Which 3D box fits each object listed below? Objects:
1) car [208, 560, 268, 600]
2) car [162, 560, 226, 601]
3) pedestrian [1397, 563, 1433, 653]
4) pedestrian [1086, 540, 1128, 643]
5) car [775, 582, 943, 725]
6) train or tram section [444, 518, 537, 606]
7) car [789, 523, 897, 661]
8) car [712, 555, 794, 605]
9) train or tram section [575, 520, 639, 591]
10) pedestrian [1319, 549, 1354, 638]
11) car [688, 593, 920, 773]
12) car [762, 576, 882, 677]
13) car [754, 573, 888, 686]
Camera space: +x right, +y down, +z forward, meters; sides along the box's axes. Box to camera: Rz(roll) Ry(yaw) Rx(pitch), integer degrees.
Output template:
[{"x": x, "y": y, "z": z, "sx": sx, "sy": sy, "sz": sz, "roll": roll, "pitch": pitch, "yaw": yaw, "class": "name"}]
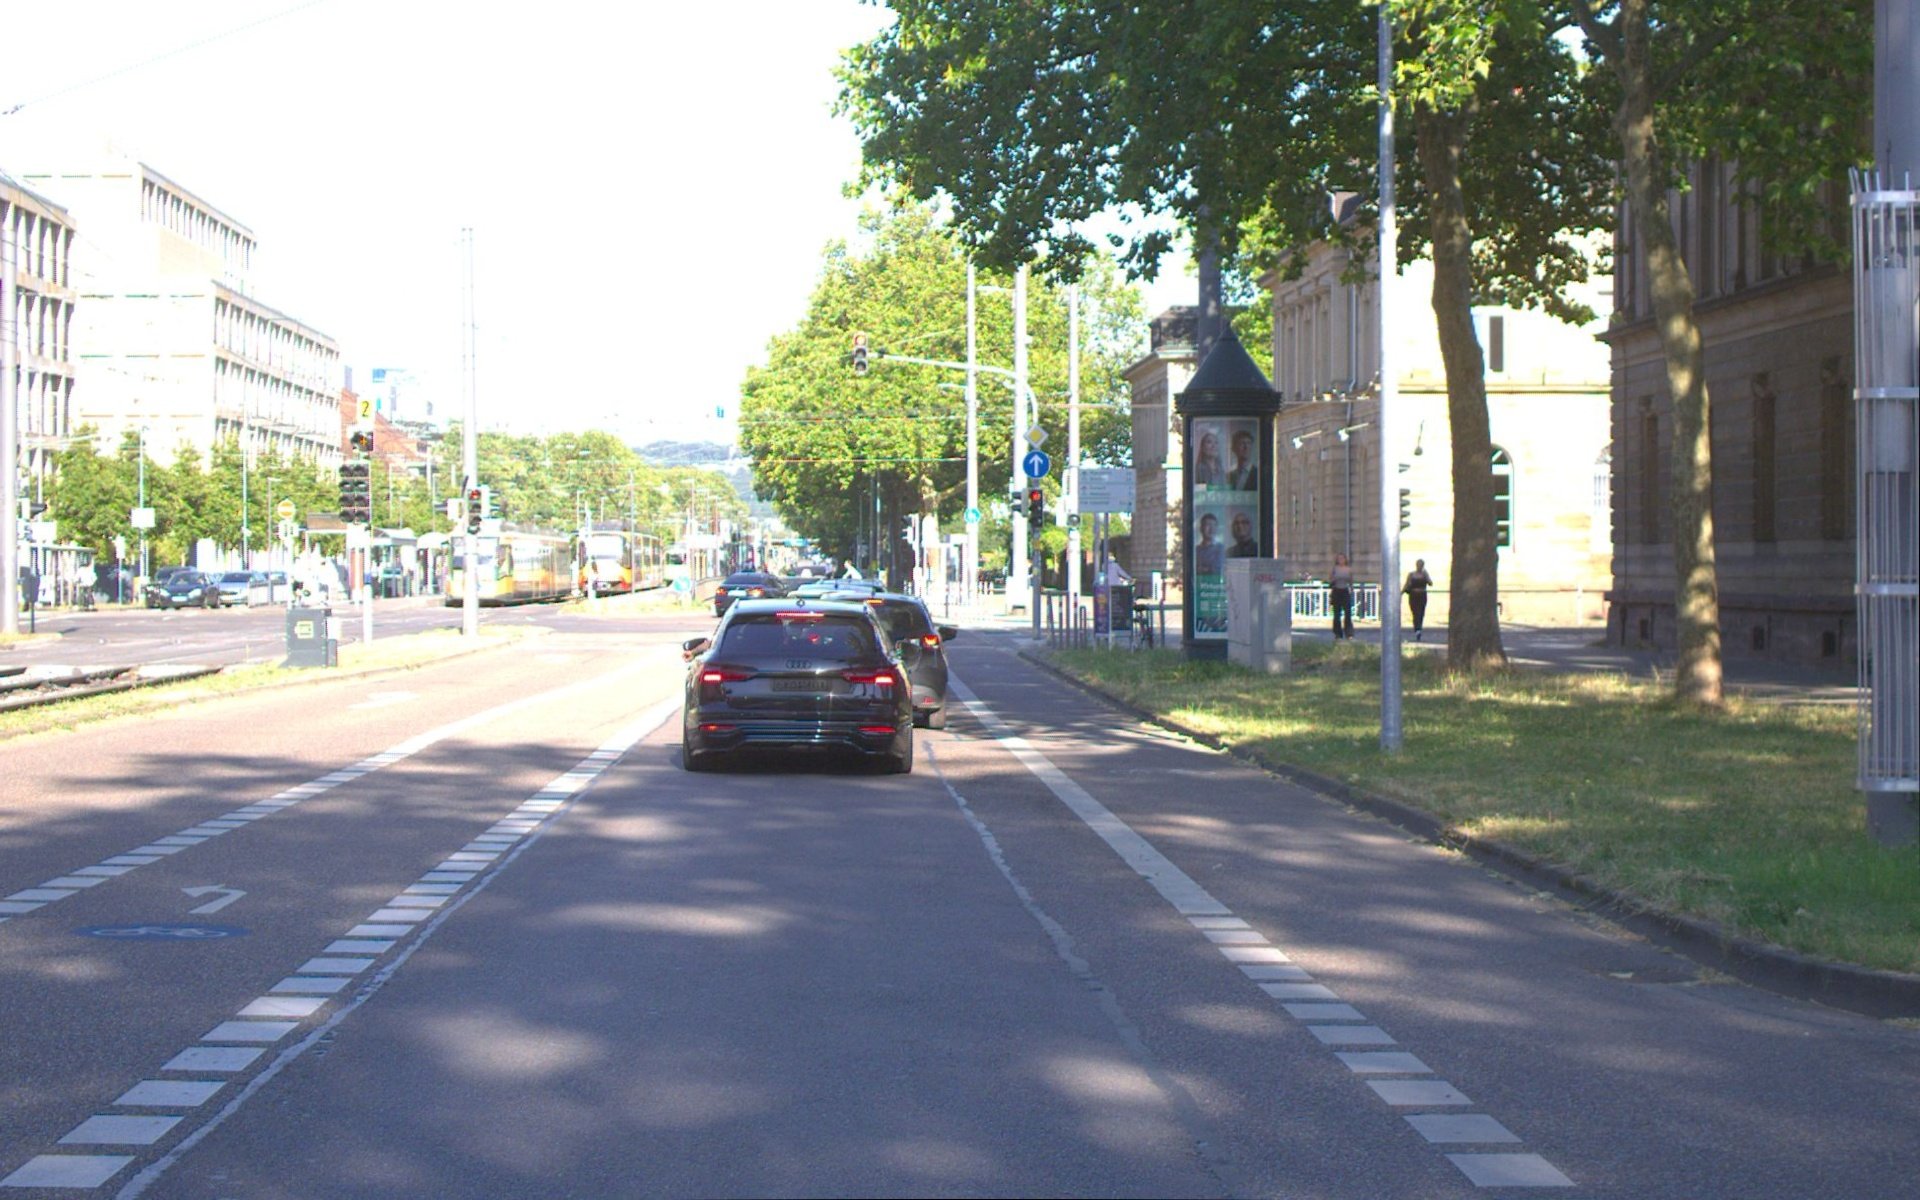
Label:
[{"x": -28.511, "y": -0.804, "z": 135.809, "sx": 1.794, "sy": 1.505, "sz": 4.001, "roll": 0, "pitch": 1, "yaw": -5, "class": "car"}, {"x": -28.732, "y": -0.730, "z": 129.013, "sx": 1.794, "sy": 1.505, "sz": 4.001, "roll": 0, "pitch": 1, "yaw": -5, "class": "car"}, {"x": 8.846, "y": 0.143, "z": 66.777, "sx": 0.588, "sy": 1.722, "sz": 0.650, "roll": 2, "pitch": 1, "yaw": 12, "class": "pedestrian"}, {"x": 2.500, "y": -0.146, "z": 58.501, "sx": 0.588, "sy": 1.722, "sz": 0.650, "roll": 2, "pitch": 1, "yaw": 10, "class": "pedestrian"}, {"x": -1.139, "y": 0.558, "z": 38.850, "sx": 1.794, "sy": 1.505, "sz": 4.000, "roll": 0, "pitch": 1, "yaw": -2, "class": "car"}, {"x": -18.968, "y": -1.567, "z": 139.371, "sx": 2.825, "sy": 3.439, "sz": 9.065, "roll": 0, "pitch": 1, "yaw": -2, "class": "train or tram section"}, {"x": -2.031, "y": -0.154, "z": 59.906, "sx": 1.794, "sy": 2.303, "sz": 4.000, "roll": 0, "pitch": 1, "yaw": -2, "class": "car"}, {"x": -6.577, "y": -0.629, "z": 109.829, "sx": 1.795, "sy": 1.505, "sz": 3.998, "roll": 2, "pitch": 0, "yaw": 8, "class": "car"}, {"x": -17.541, "y": -2.233, "z": 171.026, "sx": 2.825, "sy": 3.439, "sz": 9.065, "roll": 0, "pitch": 1, "yaw": -4, "class": "train or tram section"}, {"x": 7.325, "y": -0.130, "z": 66.922, "sx": 0.588, "sy": 1.722, "sz": 0.650, "roll": 2, "pitch": 1, "yaw": 10, "class": "pedestrian"}, {"x": -1.345, "y": 0.657, "z": 29.388, "sx": 1.833, "sy": 1.386, "sz": 4.159, "roll": 0, "pitch": 1, "yaw": -3, "class": "car"}, {"x": -2.130, "y": 0.385, "z": 53.648, "sx": 1.794, "sy": 1.505, "sz": 4.000, "roll": 0, "pitch": 1, "yaw": -2, "class": "car"}, {"x": -1.928, "y": 0.384, "z": 48.245, "sx": 1.794, "sy": 1.505, "sz": 4.000, "roll": 0, "pitch": 1, "yaw": -2, "class": "car"}]
